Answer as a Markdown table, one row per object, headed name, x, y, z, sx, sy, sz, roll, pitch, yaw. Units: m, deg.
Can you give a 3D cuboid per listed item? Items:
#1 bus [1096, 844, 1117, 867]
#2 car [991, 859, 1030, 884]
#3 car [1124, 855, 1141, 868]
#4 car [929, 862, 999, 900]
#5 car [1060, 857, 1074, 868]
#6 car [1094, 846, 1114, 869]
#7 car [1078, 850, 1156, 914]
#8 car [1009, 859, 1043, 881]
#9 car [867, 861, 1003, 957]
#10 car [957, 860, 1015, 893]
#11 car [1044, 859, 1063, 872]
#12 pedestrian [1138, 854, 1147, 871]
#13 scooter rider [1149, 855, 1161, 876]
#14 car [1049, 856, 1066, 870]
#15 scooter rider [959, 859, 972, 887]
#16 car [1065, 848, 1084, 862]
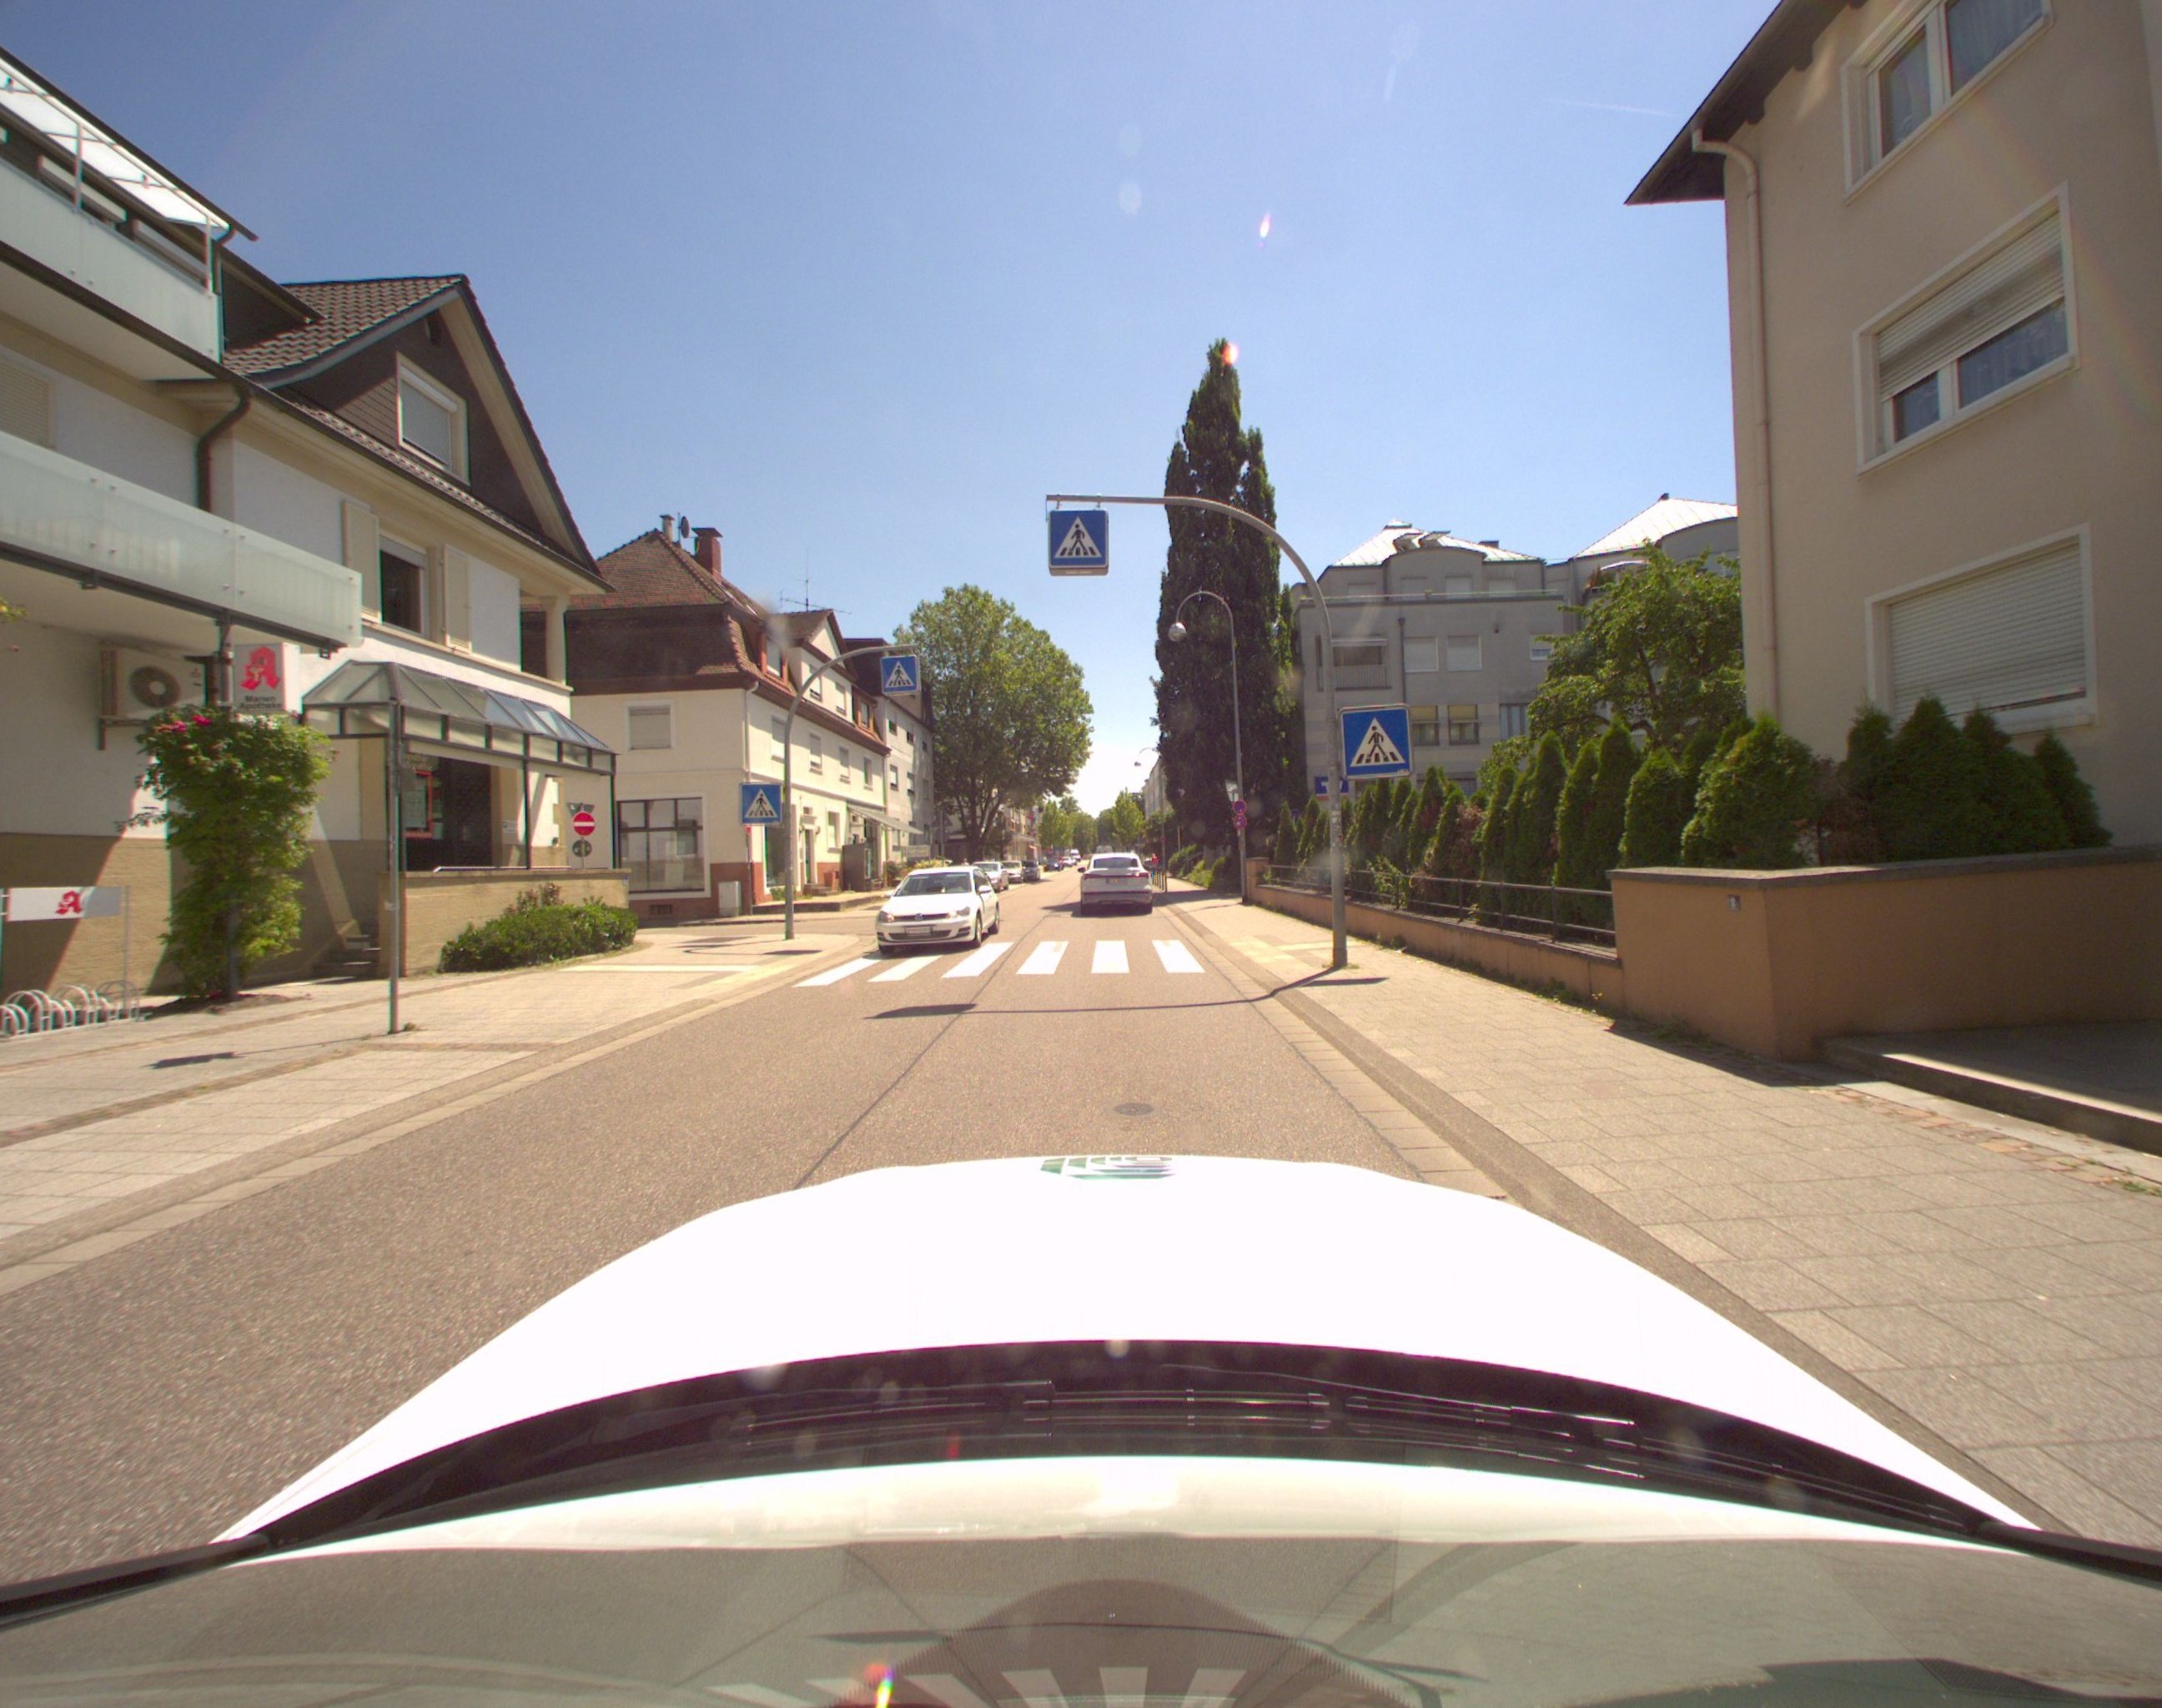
| name | x | y | z | sx | sy | sz | roll | pitch | yaw |
| --- | --- | --- | --- | --- | --- | --- | --- | --- | --- |
| bus | 3.654 | 0.277 | 115.804 | 2.649 | 3.221 | 7.309 | 0 | -1 | 4 |
| car | -4.393 | 1.053 | 51.647 | 1.974 | 1.452 | 4.868 | -1 | 0 | 1 |
| car | 6.283 | 0.874 | 99.616 | 1.888 | 1.438 | 4.548 | -2 | 0 | 3 |
| car | -4.770 | 1.082 | 33.851 | 1.935 | 1.373 | 5.101 | -1 | 0 | 2 |
| car | -2.097 | 1.209 | 122.396 | 1.745 | 1.618 | 4.404 | 0 | 0 | 3 |
| car | 2.637 | 0.413 | 91.306 | 2.148 | 2.442 | 5.286 | 0 | -1 | 2 |
| car | 0.951 | 0.723 | 22.835 | 1.987 | 1.633 | 4.000 | -1 | 0 | 0 |
| car | -3.814 | 1.098 | 57.534 | 1.974 | 1.452 | 5.151 | -1 | 0 | 1 |
| car | -2.616 | 0.930 | 15.486 | 1.802 | 1.482 | 3.868 | -4 | 0 | 0 |
| car | -4.547 | 1.044 | 39.920 | 1.973 | 1.452 | 5.360 | -1 | 0 | 2 |
| car | -3.074 | 1.282 | 92.612 | 1.889 | 1.417 | 5.049 | 0 | 0 | 1 |
| pedestrian | 6.115 | 0.854 | 81.077 | 0.698 | 1.627 | 0.783 | -5 | -1 | 0 |
| scooter rider | 5.618 | 0.876 | 61.986 | 0.713 | 1.548 | 0.770 | -3 | 0 | 0 |
| car | -2.834 | 1.081 | 99.087 | 1.746 | 1.702 | 4.102 | 0 | 0 | 1 |
| scooter rider | -6.757 | 1.108 | 47.685 | 0.586 | 1.575 | 0.878 | 0 | 0 | 3 |
| car | -1.423 | 0.234 | 168.988 | 2.041 | 2.630 | 7.068 | -4 | 0 | -16 |
